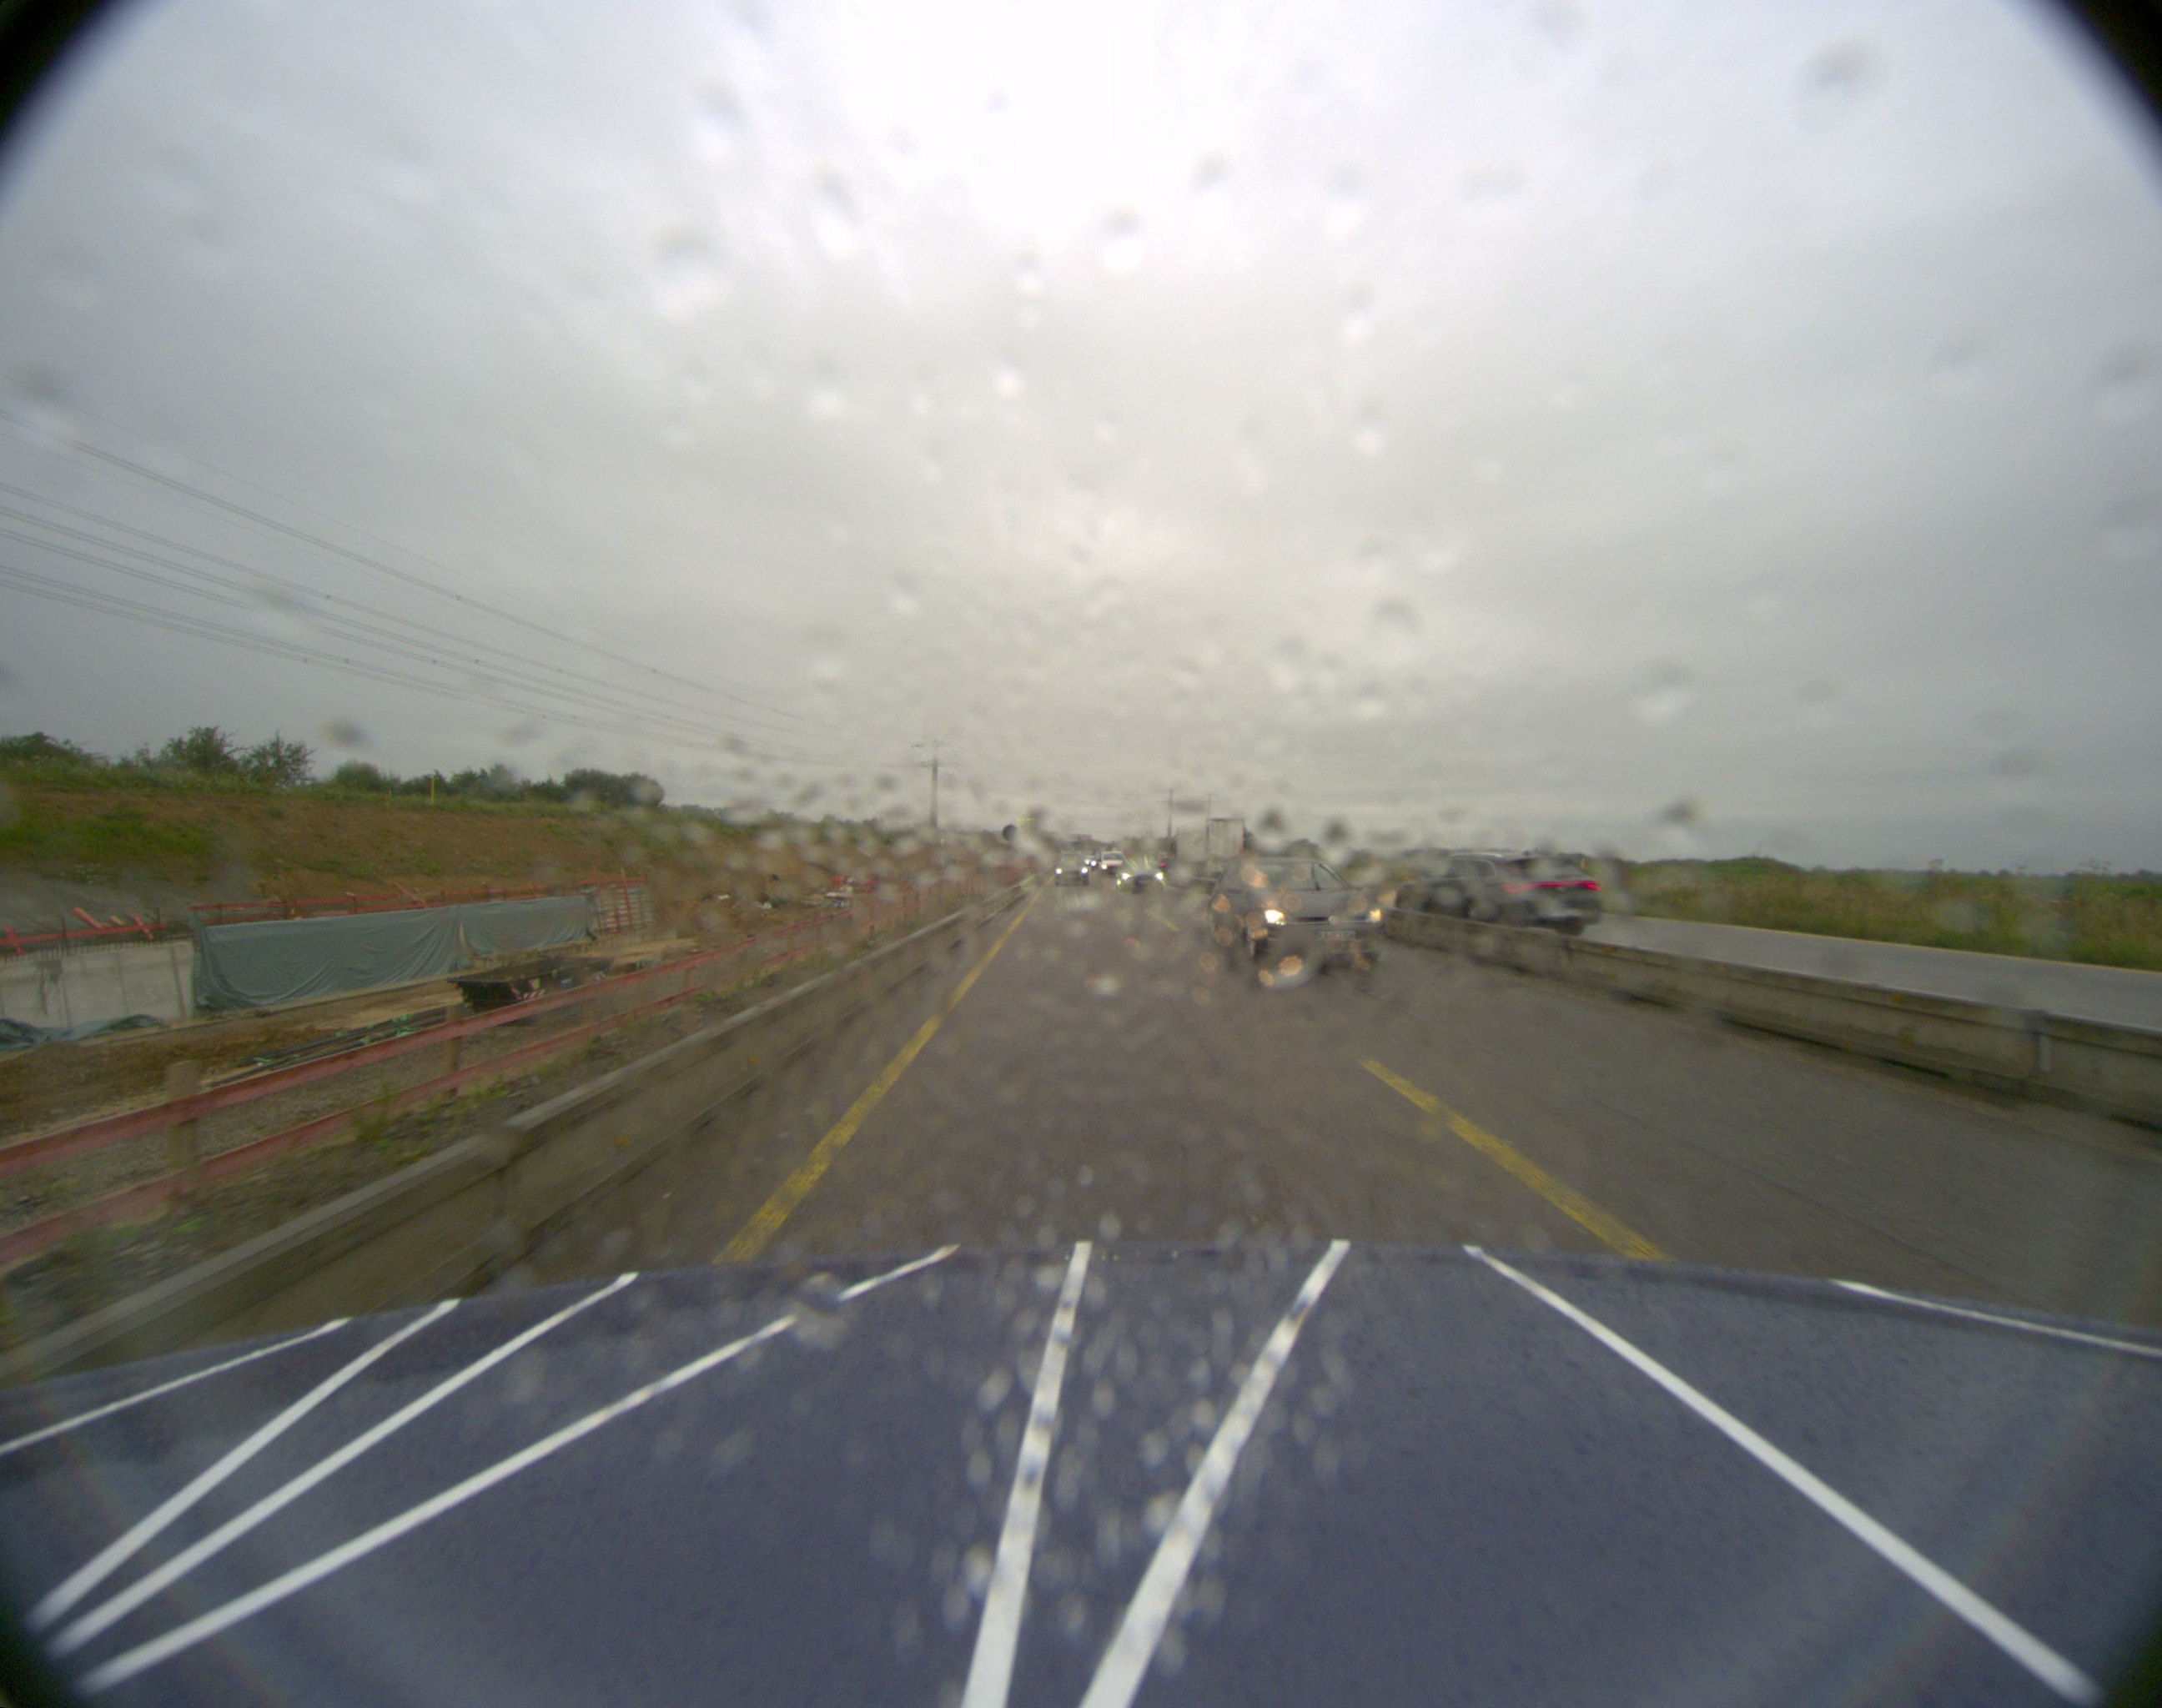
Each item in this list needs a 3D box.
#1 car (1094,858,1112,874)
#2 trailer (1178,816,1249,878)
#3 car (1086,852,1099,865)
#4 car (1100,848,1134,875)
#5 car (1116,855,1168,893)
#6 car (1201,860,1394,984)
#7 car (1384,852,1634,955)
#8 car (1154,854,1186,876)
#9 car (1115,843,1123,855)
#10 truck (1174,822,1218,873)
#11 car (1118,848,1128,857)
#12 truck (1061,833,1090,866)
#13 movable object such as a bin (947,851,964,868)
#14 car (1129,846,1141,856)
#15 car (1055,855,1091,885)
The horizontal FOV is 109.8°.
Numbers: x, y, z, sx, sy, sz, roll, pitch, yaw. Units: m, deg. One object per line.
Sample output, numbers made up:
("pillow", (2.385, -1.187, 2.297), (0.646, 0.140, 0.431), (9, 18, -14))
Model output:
("car", (2.402, 1.244, 82.249), (1.799, 1.521, 4.068), (-2, 1, 3))
("trailer", (9.840, -0.481, 58.036), (2.793, 4.175, 13.672), (-1, 0, -1))
("car", (1.706, 0.656, 113.477), (1.800, 1.850, 4.286), (-2, 1, -1))
("car", (2.628, 0.510, 56.452), (2.161, 1.848, 5.178), (-2, 1, 0))
("car", (2.509, 0.810, 32.340), (1.800, 1.389, 4.268), (-2, 1, 0))
("car", (3.032, 0.858, 11.517), (1.654, 1.414, 4.079), (-2, 1, -1))
("car", (7.281, 0.732, 13.608), (1.830, 1.434, 4.697), (-2, 1, 0))
("car", (6.380, 0.779, 54.769), (1.723, 1.412, 4.090), (-1, 1, -1))
("car", (8.686, -1.075, 173.095), (1.730, 2.707, 4.090), (-1, 1, 1))
("truck", (9.742, -0.525, 64.959), (2.793, 4.157, 5.906), (-1, 0, -1))
("car", (8.737, -0.328, 156.807), (1.730, 1.606, 4.090), (-1, 1, -1))
("truck", (-0.566, -0.535, 89.109), (2.836, 3.617, 9.120), (-2, 1, 2))
("movable object such as a bin", (-20.934, 0.966, 126.929), (2.252, 2.703, 3.999), (-2, 1, -1))
("car", (8.761, -0.472, 123.624), (1.730, 1.606, 4.090), (-1, 1, -1))
("car", (-0.488, 0.832, 42.211), (1.800, 1.524, 4.307), (-2, 0, -2))
